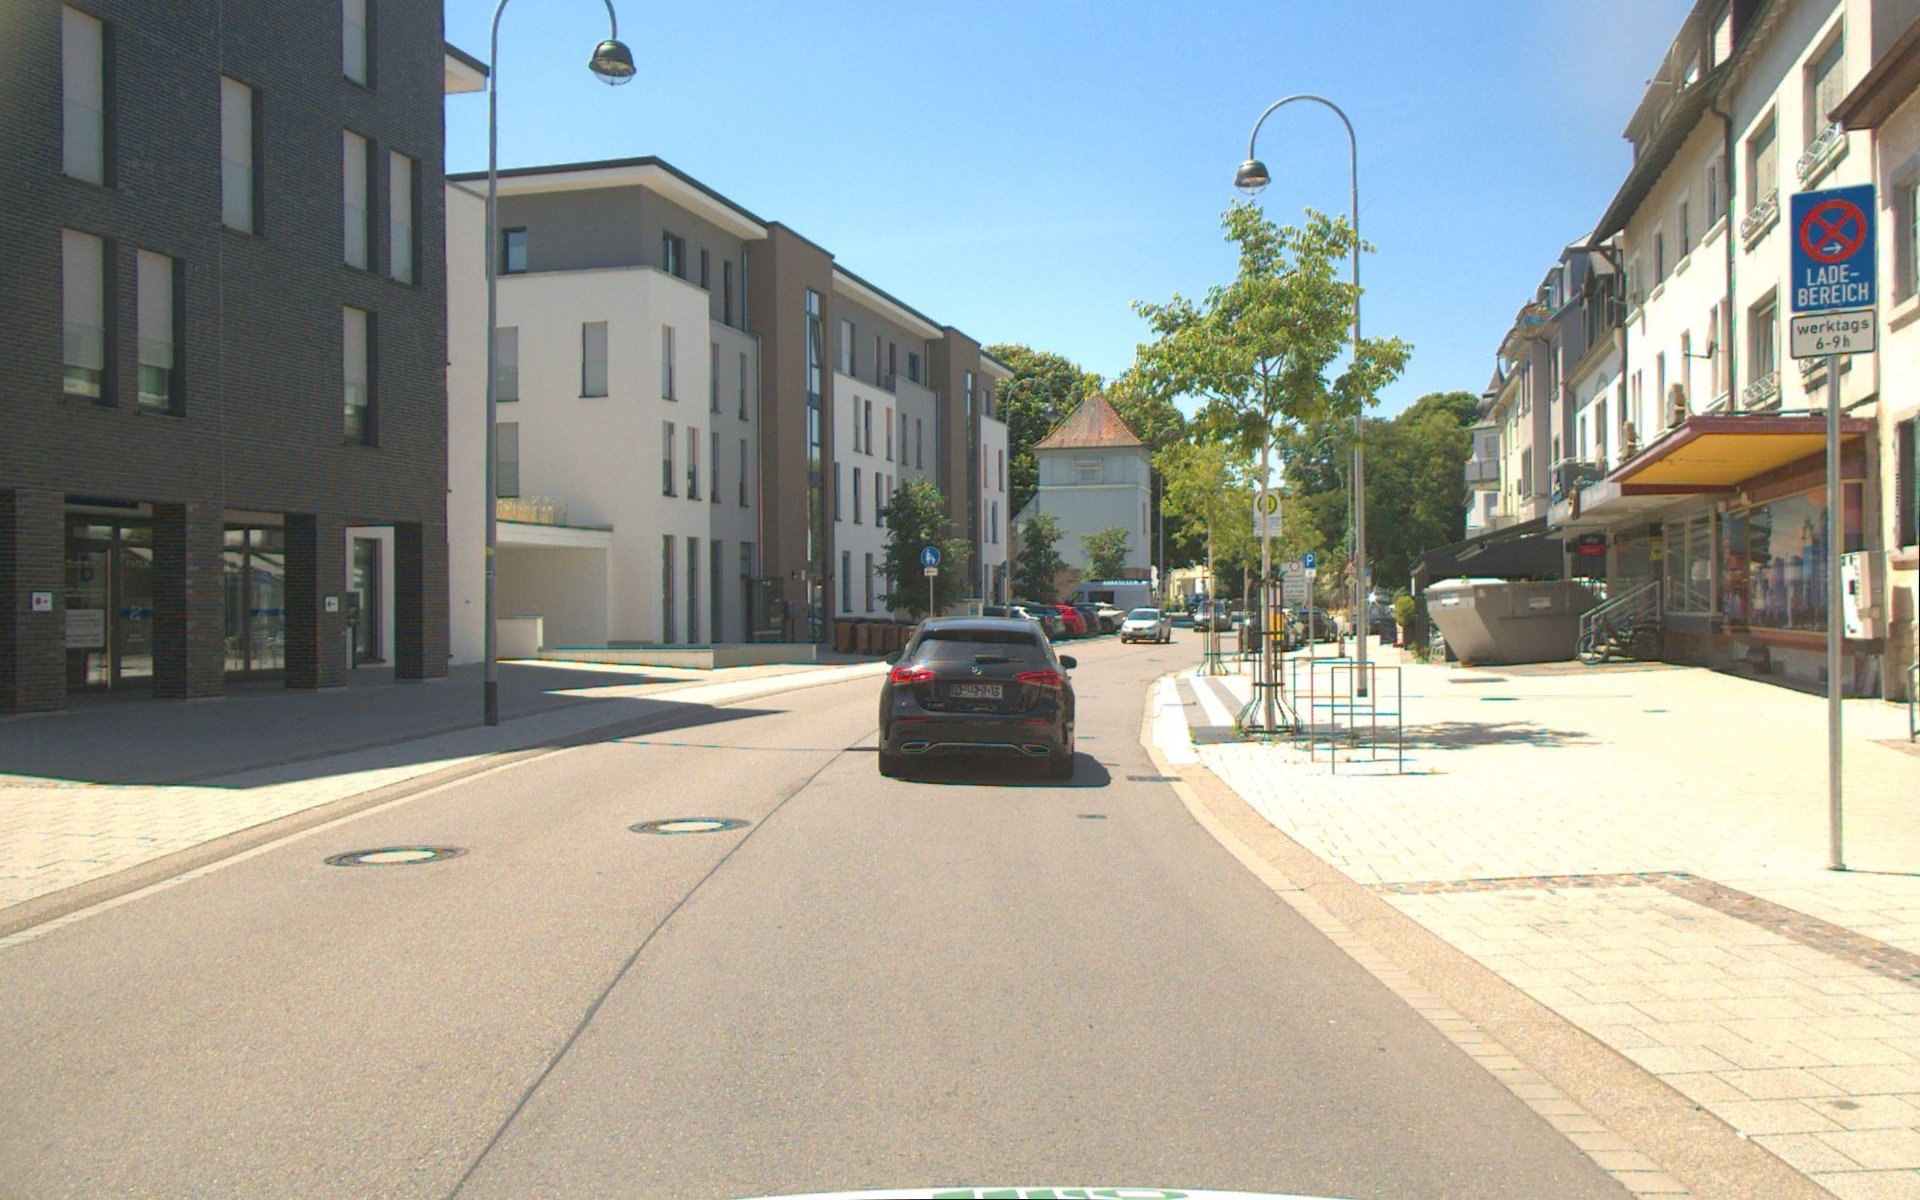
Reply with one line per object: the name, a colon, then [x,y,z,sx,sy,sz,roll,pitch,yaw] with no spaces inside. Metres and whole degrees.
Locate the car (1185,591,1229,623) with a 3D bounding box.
car: [13.550,0.368,90.496,1.901,1.687,4.238,1,0,15]

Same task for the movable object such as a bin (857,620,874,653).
movable object such as a bin: [-2.934,1.125,51.255,0.394,1.015,0.556,0,0,14]

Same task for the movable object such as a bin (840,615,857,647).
movable object such as a bin: [-3.636,1.008,53.952,0.543,1.057,0.481,0,0,-2]

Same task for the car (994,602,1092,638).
car: [3.699,0.875,73.332,3.948,1.455,2.001,1,0,18]

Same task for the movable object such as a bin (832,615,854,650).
movable object such as a bin: [-3.756,1.039,52.959,0.678,1.115,0.647,0,0,-2]

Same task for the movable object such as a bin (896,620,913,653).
movable object such as a bin: [-1.704,1.132,51.105,0.394,1.015,0.556,0,0,14]

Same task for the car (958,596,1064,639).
car: [2.122,0.702,68.355,3.948,1.680,2.001,1,0,18]

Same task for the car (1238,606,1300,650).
car: [11.306,1.012,60.355,1.794,1.508,4.098,-3,-1,16]

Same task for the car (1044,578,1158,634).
car: [7.470,0.289,87.466,5.645,2.780,2.293,1,0,16]

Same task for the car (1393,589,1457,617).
car: [30.602,0.173,109.015,3.988,1.746,1.858,1,0,14]

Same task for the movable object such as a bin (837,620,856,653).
movable object such as a bin: [-3.534,1.122,51.441,0.472,1.015,0.588,0,0,8]

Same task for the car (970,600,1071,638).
car: [2.612,0.815,71.141,3.948,1.523,2.001,1,0,18]

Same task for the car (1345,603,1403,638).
car: [20.707,1.014,82.595,1.836,1.517,3.856,-2,1,29]

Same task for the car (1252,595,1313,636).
car: [12.973,0.612,66.309,1.701,1.512,4.054,-3,-1,21]

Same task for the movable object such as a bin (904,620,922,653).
movable object such as a bin: [-1.429,1.111,50.449,0.472,1.015,0.588,0,0,8]

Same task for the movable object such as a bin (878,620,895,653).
movable object such as a bin: [-2.287,1.129,51.300,0.394,1.015,0.556,0,0,14]

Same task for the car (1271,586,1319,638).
car: [19.044,0.626,93.869,2.082,2.675,5.282,-3,1,16]

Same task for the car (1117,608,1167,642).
car: [7.757,1.043,70.321,1.631,1.420,3.850,0,0,14]

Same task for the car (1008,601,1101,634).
car: [4.450,0.801,77.732,4.110,1.463,1.887,1,0,11]

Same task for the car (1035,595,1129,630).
car: [6.147,0.608,82.992,4.359,1.619,2.001,1,0,15]

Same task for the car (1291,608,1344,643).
car: [15.691,1.077,72.381,1.688,1.430,4.610,-2,-1,19]

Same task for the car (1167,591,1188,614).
car: [20.520,0.247,156.149,1.951,2.049,4.003,1,-1,7]

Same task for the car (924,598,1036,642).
car: [0.788,0.749,63.848,3.903,1.541,2.002,1,2,16]

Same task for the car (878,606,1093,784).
car: [0.179,0.820,16.027,1.791,1.467,3.999,1,0,-1]

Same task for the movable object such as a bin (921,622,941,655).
movable object such as a bin: [-0.901,1.197,51.237,0.472,1.015,0.588,0,0,14]

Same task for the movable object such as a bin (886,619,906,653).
movable object such as a bin: [-1.963,1.098,50.811,0.472,1.015,0.588,0,0,14]

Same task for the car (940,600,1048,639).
car: [1.371,0.775,65.947,3.903,1.446,1.911,1,0,16]

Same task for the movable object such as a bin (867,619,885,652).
movable object such as a bin: [-2.578,1.086,50.805,0.415,1.015,0.524,0,0,15]

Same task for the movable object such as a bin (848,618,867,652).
movable object such as a bin: [-3.140,1.071,50.649,0.472,1.015,0.527,0,0,10]

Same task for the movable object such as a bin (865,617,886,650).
movable object such as a bin: [-2.753,1.097,53.803,0.662,1.057,0.604,0,0,-2]

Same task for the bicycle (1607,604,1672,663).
bicycle: [14.351,0.696,34.931,1.244,1.204,0.415,1,-1,23]
